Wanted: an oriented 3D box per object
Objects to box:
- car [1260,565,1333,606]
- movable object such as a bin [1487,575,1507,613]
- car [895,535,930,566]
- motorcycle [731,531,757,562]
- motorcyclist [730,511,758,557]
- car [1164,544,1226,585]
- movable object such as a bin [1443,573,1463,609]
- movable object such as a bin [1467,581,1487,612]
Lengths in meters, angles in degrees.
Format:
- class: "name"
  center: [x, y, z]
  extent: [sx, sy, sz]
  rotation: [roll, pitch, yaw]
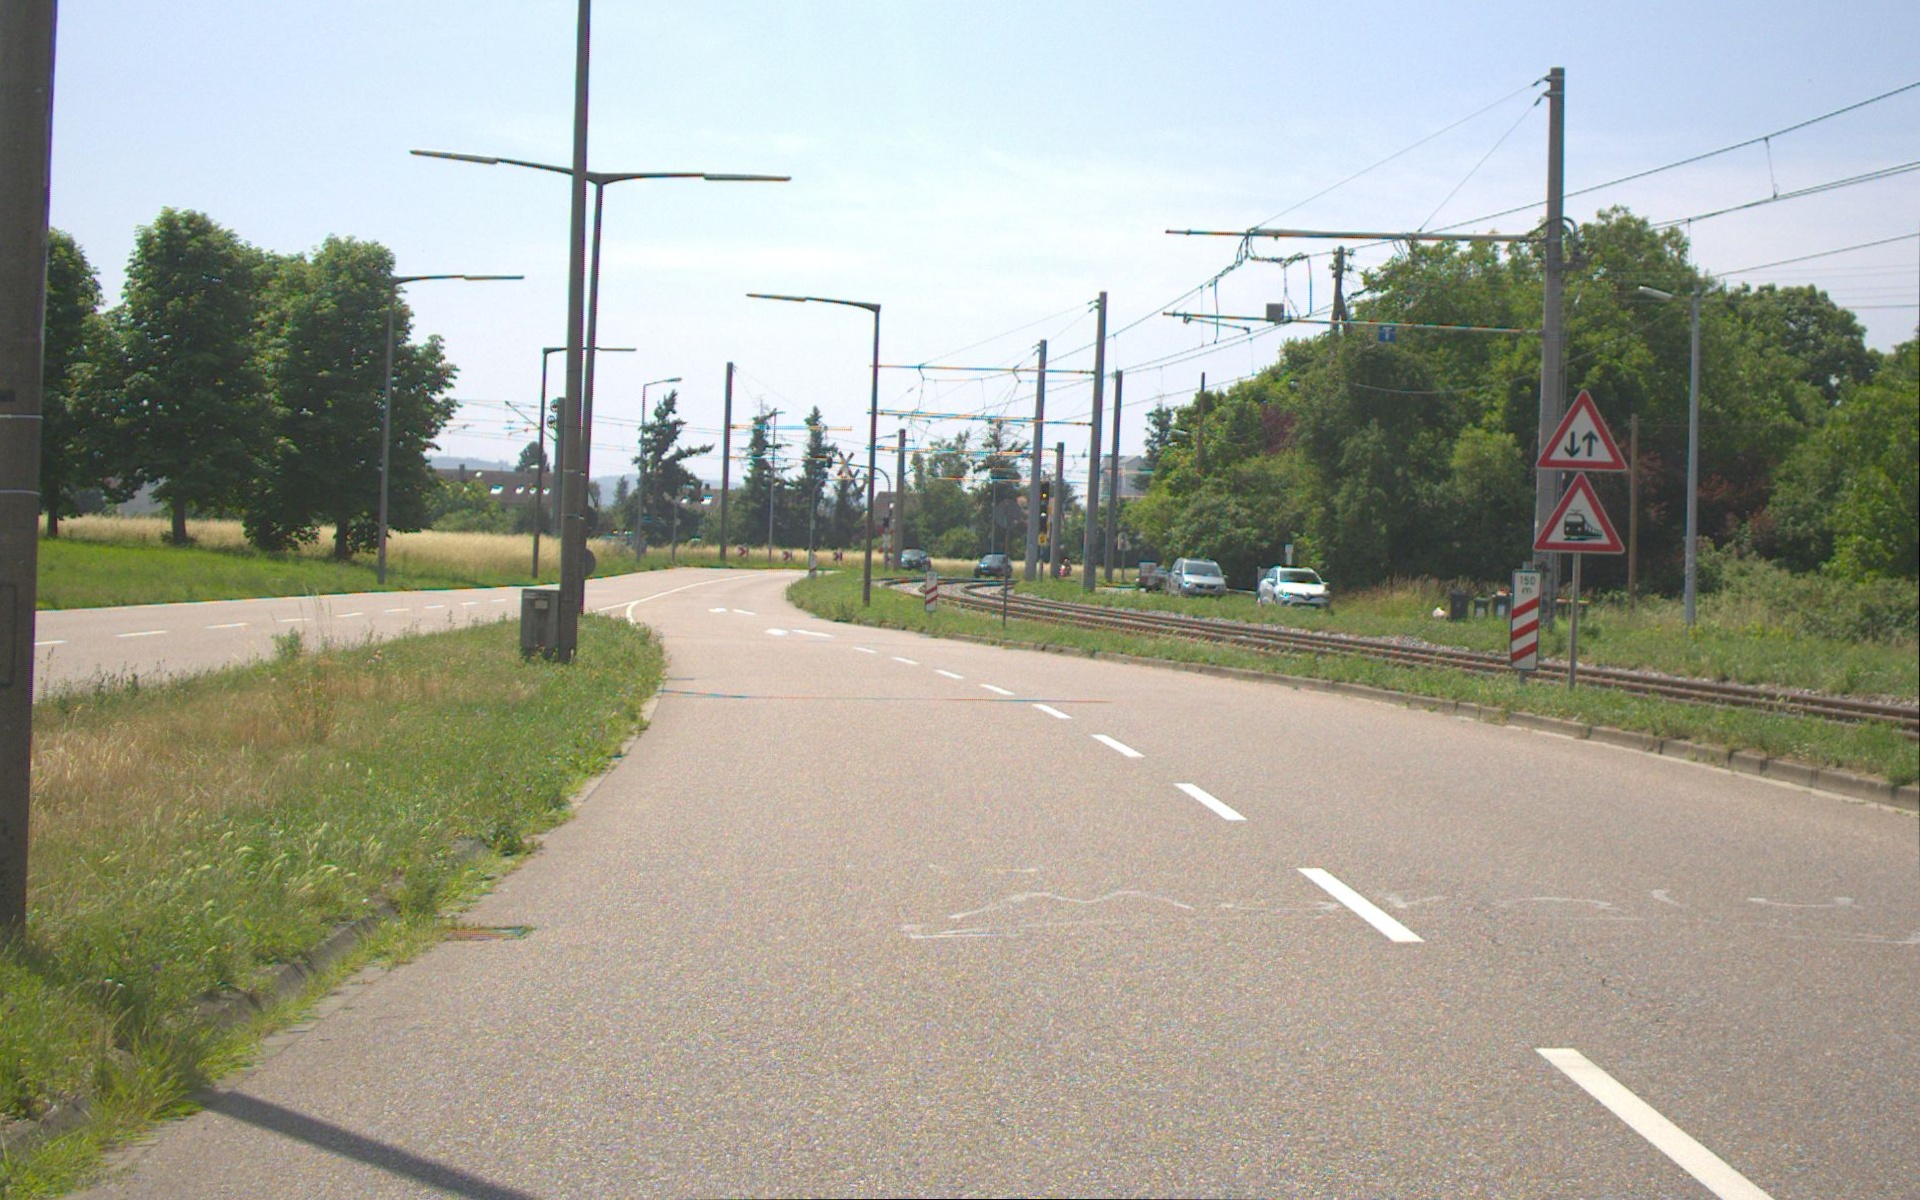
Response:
- class: "car"
  center: [10.405, -0.448, 106.364]
  extent: [1.562, 1.175, 3.080]
  rotation: [2, 1, -7]
- class: "movable object such as a bin"
  center: [15.532, -0.175, 99.433]
  extent: [0.525, 1.046, 0.499]
  rotation: [2, 1, 6]
- class: "car"
  center: [-2.957, -3.087, 214.790]
  extent: [1.404, 1.765, 3.252]
  rotation: [4, 0, 12]
- class: "motorcycle"
  center: [-11.553, -2.841, 183.793]
  extent: [0.989, 1.575, 3.400]
  rotation: [4, 0, 2]
- class: "motorcyclist"
  center: [-11.534, -3.509, 183.763]
  extent: [1.231, 2.343, 1.106]
  rotation: [4, 0, 2]
- class: "car"
  center: [8.873, -1.349, 129.902]
  extent: [1.671, 1.392, 3.651]
  rotation: [4, 0, -5]
- class: "movable object such as a bin"
  center: [14.278, -0.261, 99.616]
  extent: [0.525, 1.046, 0.499]
  rotation: [2, 1, 6]
- class: "movable object such as a bin"
  center: [14.970, -0.111, 99.526]
  extent: [0.525, 0.861, 0.499]
  rotation: [2, 1, 6]
